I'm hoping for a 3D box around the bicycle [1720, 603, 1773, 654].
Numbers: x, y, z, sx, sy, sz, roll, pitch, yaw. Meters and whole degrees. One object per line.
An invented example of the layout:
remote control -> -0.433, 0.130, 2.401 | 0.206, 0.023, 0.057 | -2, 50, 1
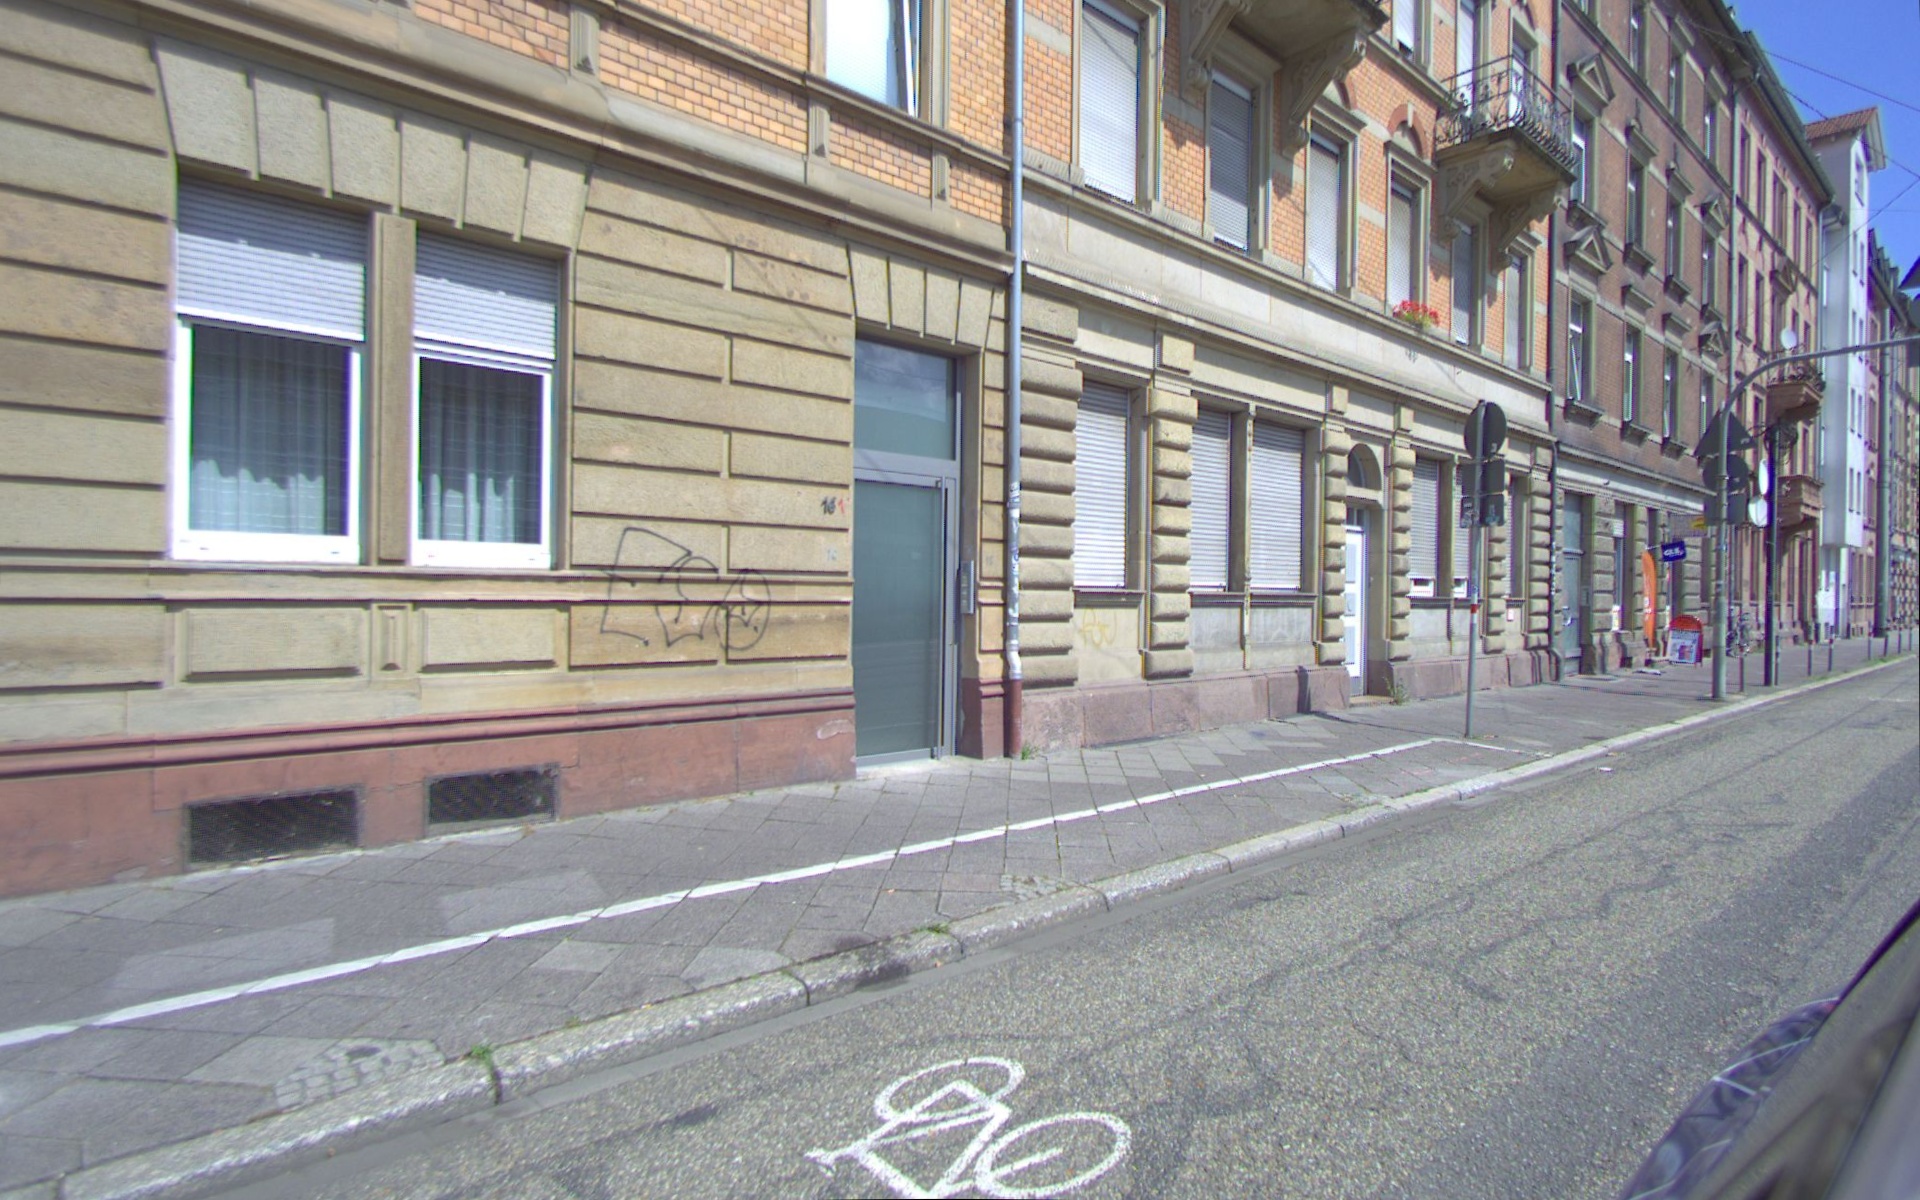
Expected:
bicycle -> 19.607, 0.685, 25.211 | 2.166, 1.193, 0.587 | 0, 1, -40
